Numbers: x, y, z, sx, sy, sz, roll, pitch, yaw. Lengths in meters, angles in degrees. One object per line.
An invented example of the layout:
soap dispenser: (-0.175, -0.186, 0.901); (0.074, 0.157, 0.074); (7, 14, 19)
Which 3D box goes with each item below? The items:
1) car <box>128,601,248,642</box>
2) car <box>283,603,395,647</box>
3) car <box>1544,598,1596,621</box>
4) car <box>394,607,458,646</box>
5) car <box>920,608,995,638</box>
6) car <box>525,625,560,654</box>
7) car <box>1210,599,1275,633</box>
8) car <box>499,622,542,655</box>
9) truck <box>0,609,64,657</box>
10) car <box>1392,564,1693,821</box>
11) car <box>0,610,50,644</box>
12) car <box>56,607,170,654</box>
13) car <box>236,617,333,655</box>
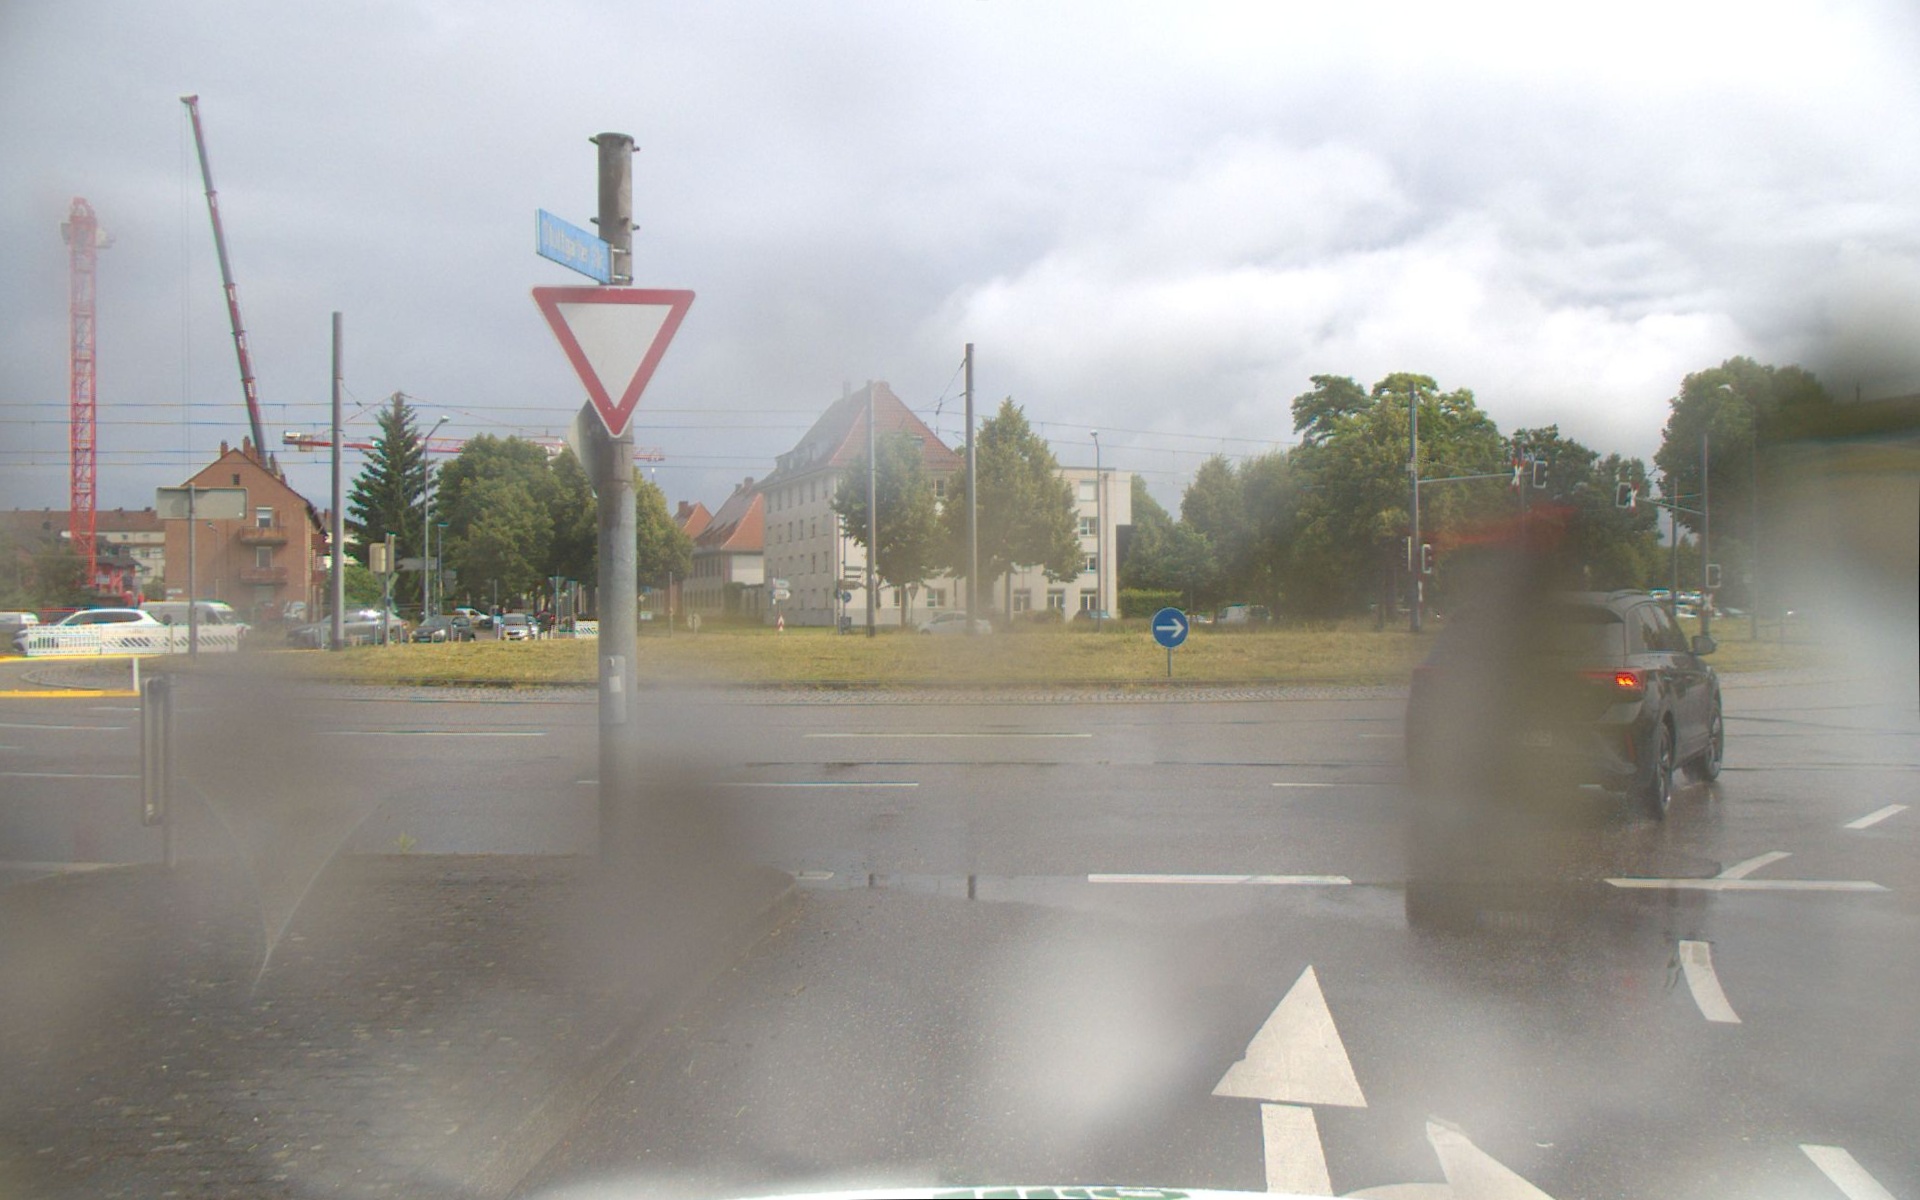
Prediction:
car: (-44.302, 1.227, 94.977); (6.112, 2.121, 2.044); (1, -1, 9)
car: (-23.387, 0.920, 62.346); (1.547, 1.588, 3.653); (0, 0, 43)
car: (42.506, 0.672, 115.360); (1.617, 1.537, 3.636); (-1, 0, -15)
car: (-23.344, 1.125, 72.417); (1.756, 1.612, 3.997); (0, 0, -4)
car: (-0.109, 1.147, 82.470); (3.422, 1.479, 1.548); (-1, 0, 28)
car: (-23.945, 2.251, 94.961); (1.565, 1.588, 3.543); (0, 0, -8)
car: (18.246, 1.025, 107.021); (2.072, 2.093, 5.139); (-1, 1, -16)
car: (-22.335, 1.946, 84.153); (1.515, 1.588, 3.496); (0, 0, -5)
truck: (-47.824, 1.569, 81.703); (5.951, 2.250, 2.399); (1, -1, 8)
car: (4.585, 0.570, 12.822); (1.859, 1.646, 4.000); (-1, 1, 22)
car: (-49.978, 1.387, 86.262); (3.906, 1.730, 1.857); (2, -1, -1)
car: (-29.294, 1.024, 57.212); (3.453, 1.537, 1.484); (0, 0, -31)
car: (-32.810, 1.734, 80.410); (1.958, 1.713, 3.989); (0, 0, 32)
